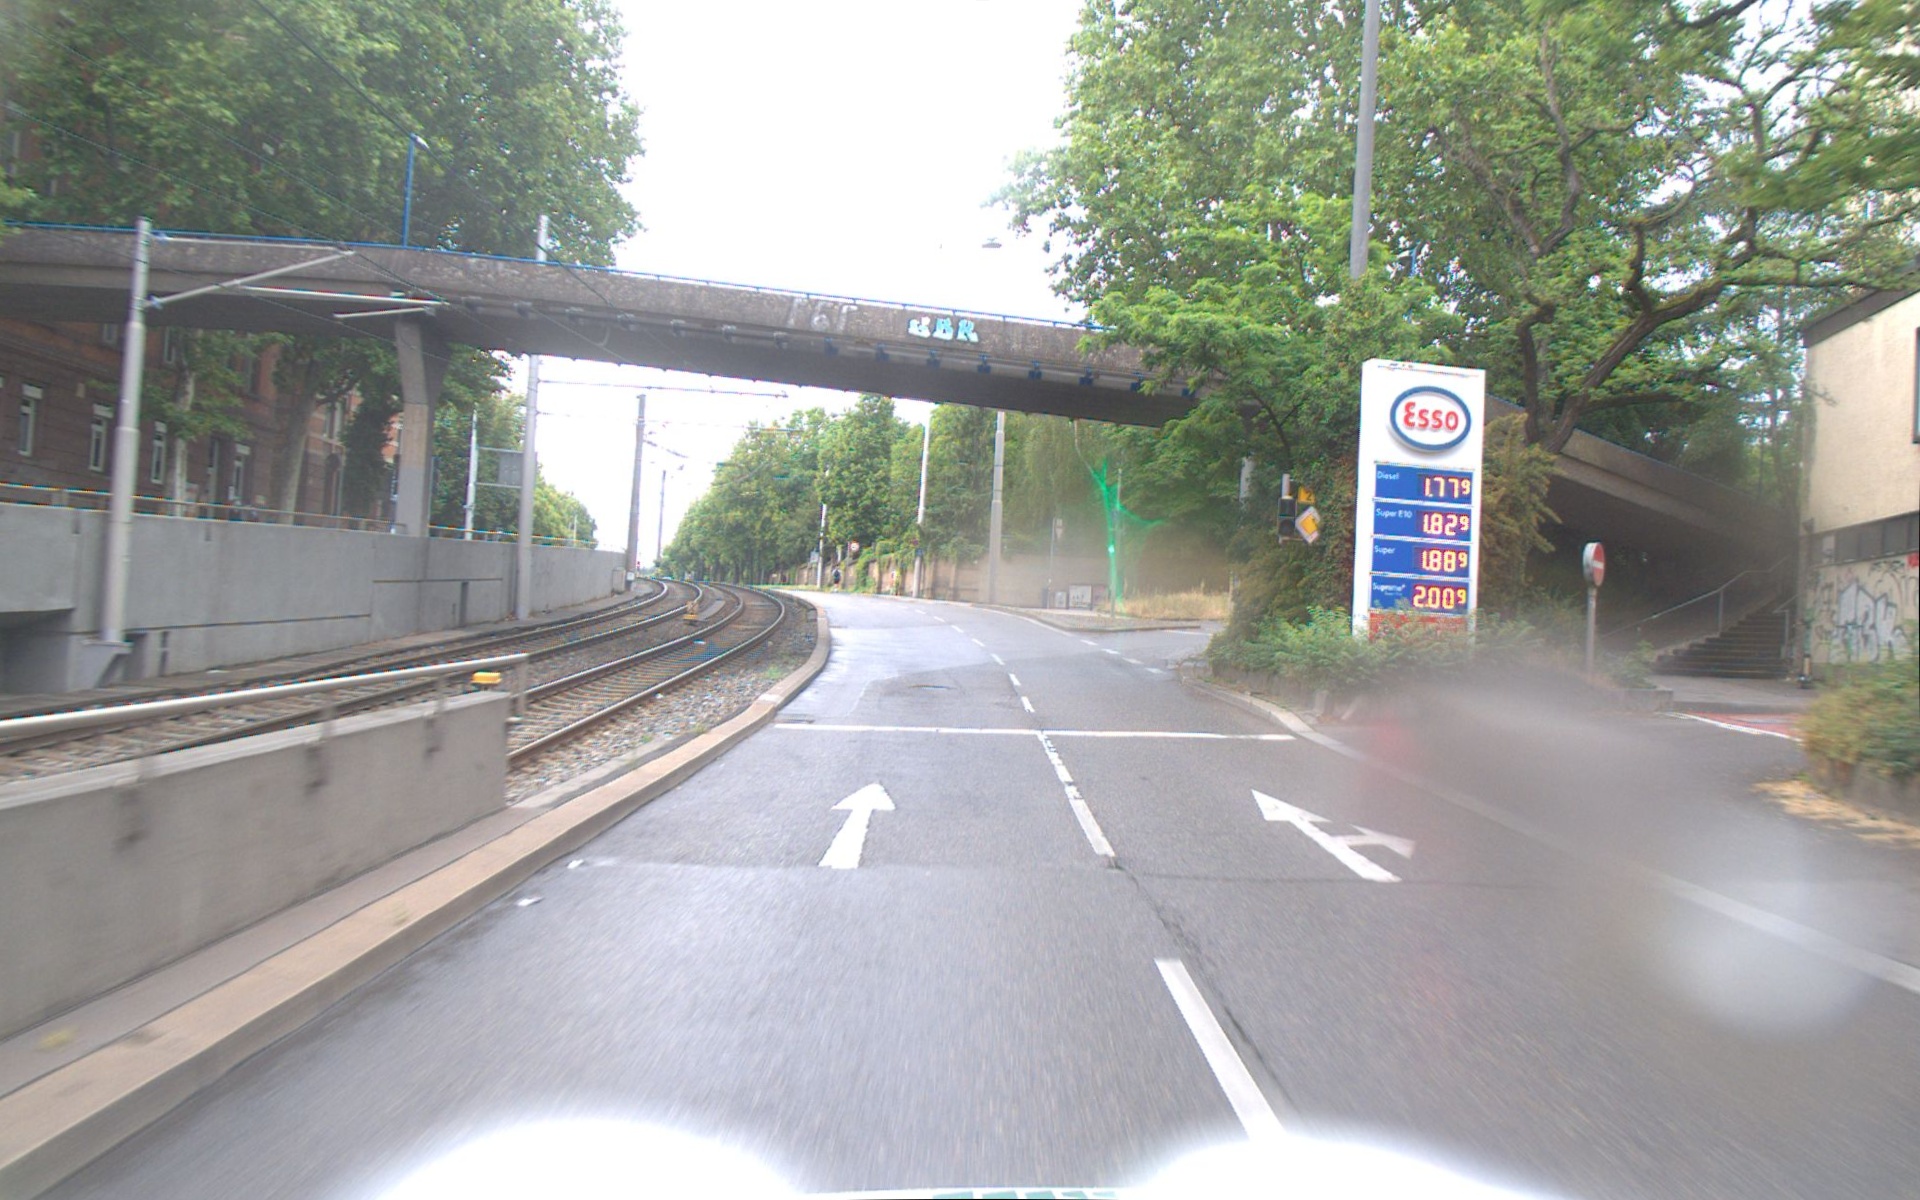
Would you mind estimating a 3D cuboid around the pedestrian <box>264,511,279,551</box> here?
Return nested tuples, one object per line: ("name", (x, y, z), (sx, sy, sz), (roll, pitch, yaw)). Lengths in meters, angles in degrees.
("pedestrian", (-23.354, -2.331, 56.125), (0.328, 1.357, 0.503), (1, 1, -7))

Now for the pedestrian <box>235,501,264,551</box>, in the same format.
("pedestrian", (-23.983, -2.486, 55.821), (0.580, 1.653, 0.723), (2, 1, 8))

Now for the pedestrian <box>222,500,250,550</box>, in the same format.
("pedestrian", (-24.663, -2.548, 56.337), (0.580, 1.653, 0.723), (2, 1, 8))

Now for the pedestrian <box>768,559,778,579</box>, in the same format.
("pedestrian", (-16.556, -2.718, 146.183), (0.707, 1.716, 0.727), (5, -1, -12))

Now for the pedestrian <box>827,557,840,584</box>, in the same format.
("pedestrian", (-9.101, -2.103, 118.697), (0.707, 1.882, 0.781), (5, -1, -12))

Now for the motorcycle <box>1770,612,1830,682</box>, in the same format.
("motorcycle", (15.612, 0.849, 30.770), (0.522, 1.211, 1.766), (1, 1, 12))

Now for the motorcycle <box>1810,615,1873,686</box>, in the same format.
("motorcycle", (16.251, 0.910, 30.534), (0.522, 1.211, 1.766), (1, 1, 12))
